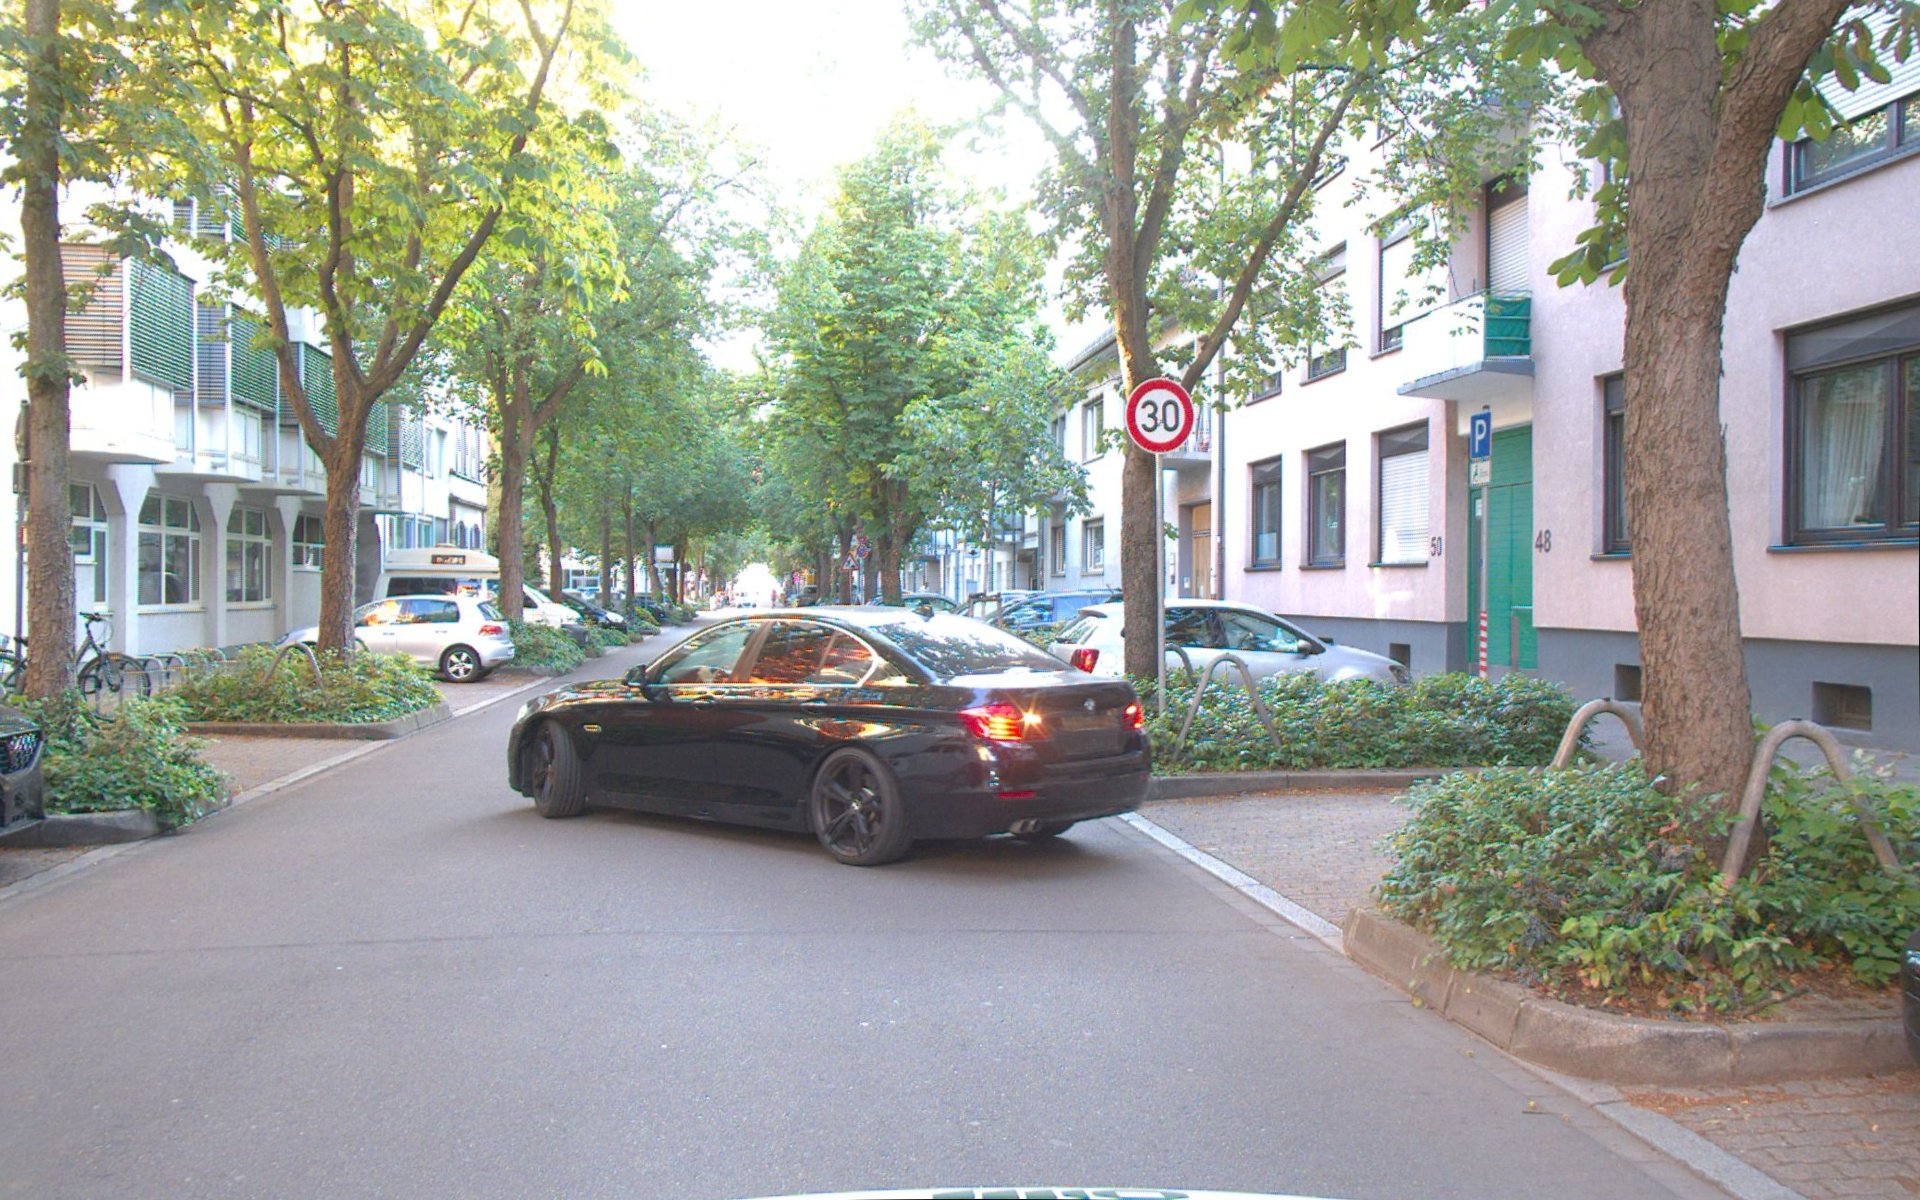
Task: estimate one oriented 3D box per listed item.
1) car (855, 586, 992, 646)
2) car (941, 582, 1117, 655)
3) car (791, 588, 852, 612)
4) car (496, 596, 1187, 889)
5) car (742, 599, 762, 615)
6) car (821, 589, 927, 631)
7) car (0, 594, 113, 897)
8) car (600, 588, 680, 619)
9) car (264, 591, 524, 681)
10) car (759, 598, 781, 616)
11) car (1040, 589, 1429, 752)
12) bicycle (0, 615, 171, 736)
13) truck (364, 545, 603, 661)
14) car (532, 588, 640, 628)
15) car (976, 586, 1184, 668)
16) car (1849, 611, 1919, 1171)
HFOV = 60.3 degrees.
[{"bbox_3d":[-1.028,0.412,45.520,3.589,1.563,1.562,-1,0,-9],"label":"car"},{"bbox_3d":[1.526,0.398,37.292,3.722,1.556,1.562,-1,0,-9],"label":"car"},{"bbox_3d":[-8.520,0.002,101.523,3.589,1.417,1.562,-1,0,-9],"label":"car"},{"bbox_3d":[-0.939,0.722,10.657,4.583,1.475,1.758,0,0,41],"label":"car"},{"bbox_3d":[-20.133,0.689,160.306,1.858,1.500,3.995,0,0,-6],"label":"car"},{"bbox_3d":[-3.054,0.345,58.280,3.589,1.417,1.562,-1,0,-9],"label":"car"},{"bbox_3d":[-7.086,0.714,8.689,4.274,1.535,1.832,1,0,-8],"label":"car"},{"bbox_3d":[-16.598,0.171,85.974,3.945,1.497,1.637,1,0,-8],"label":"car"},{"bbox_3d":[-9.931,0.625,29.273,4.054,1.497,1.637,1,0,-8],"label":"car"},{"bbox_3d":[-17.392,0.639,151.322,1.956,1.579,3.994,0,0,-7],"label":"car"},{"bbox_3d":[2.729,0.663,16.797,3.589,1.505,1.562,-1,0,-9],"label":"car"},{"bbox_3d":[-9.350,0.779,17.281,1.939,1.220,0.499,0,0,-18],"label":"bicycle"},{"bbox_3d":[-10.715,0.042,37.524,4.903,2.483,1.914,1,1,-6],"label":"truck"},{"bbox_3d":[-14.672,0.295,65.043,3.945,1.497,1.637,1,0,-8],"label":"car"},{"bbox_3d":[2.203,0.466,30.677,3.589,1.417,1.562,-1,0,-9],"label":"car"},{"bbox_3d":[4.377,0.687,4.091,3.638,1.452,1.622,-3,1,-12],"label":"car"}]
